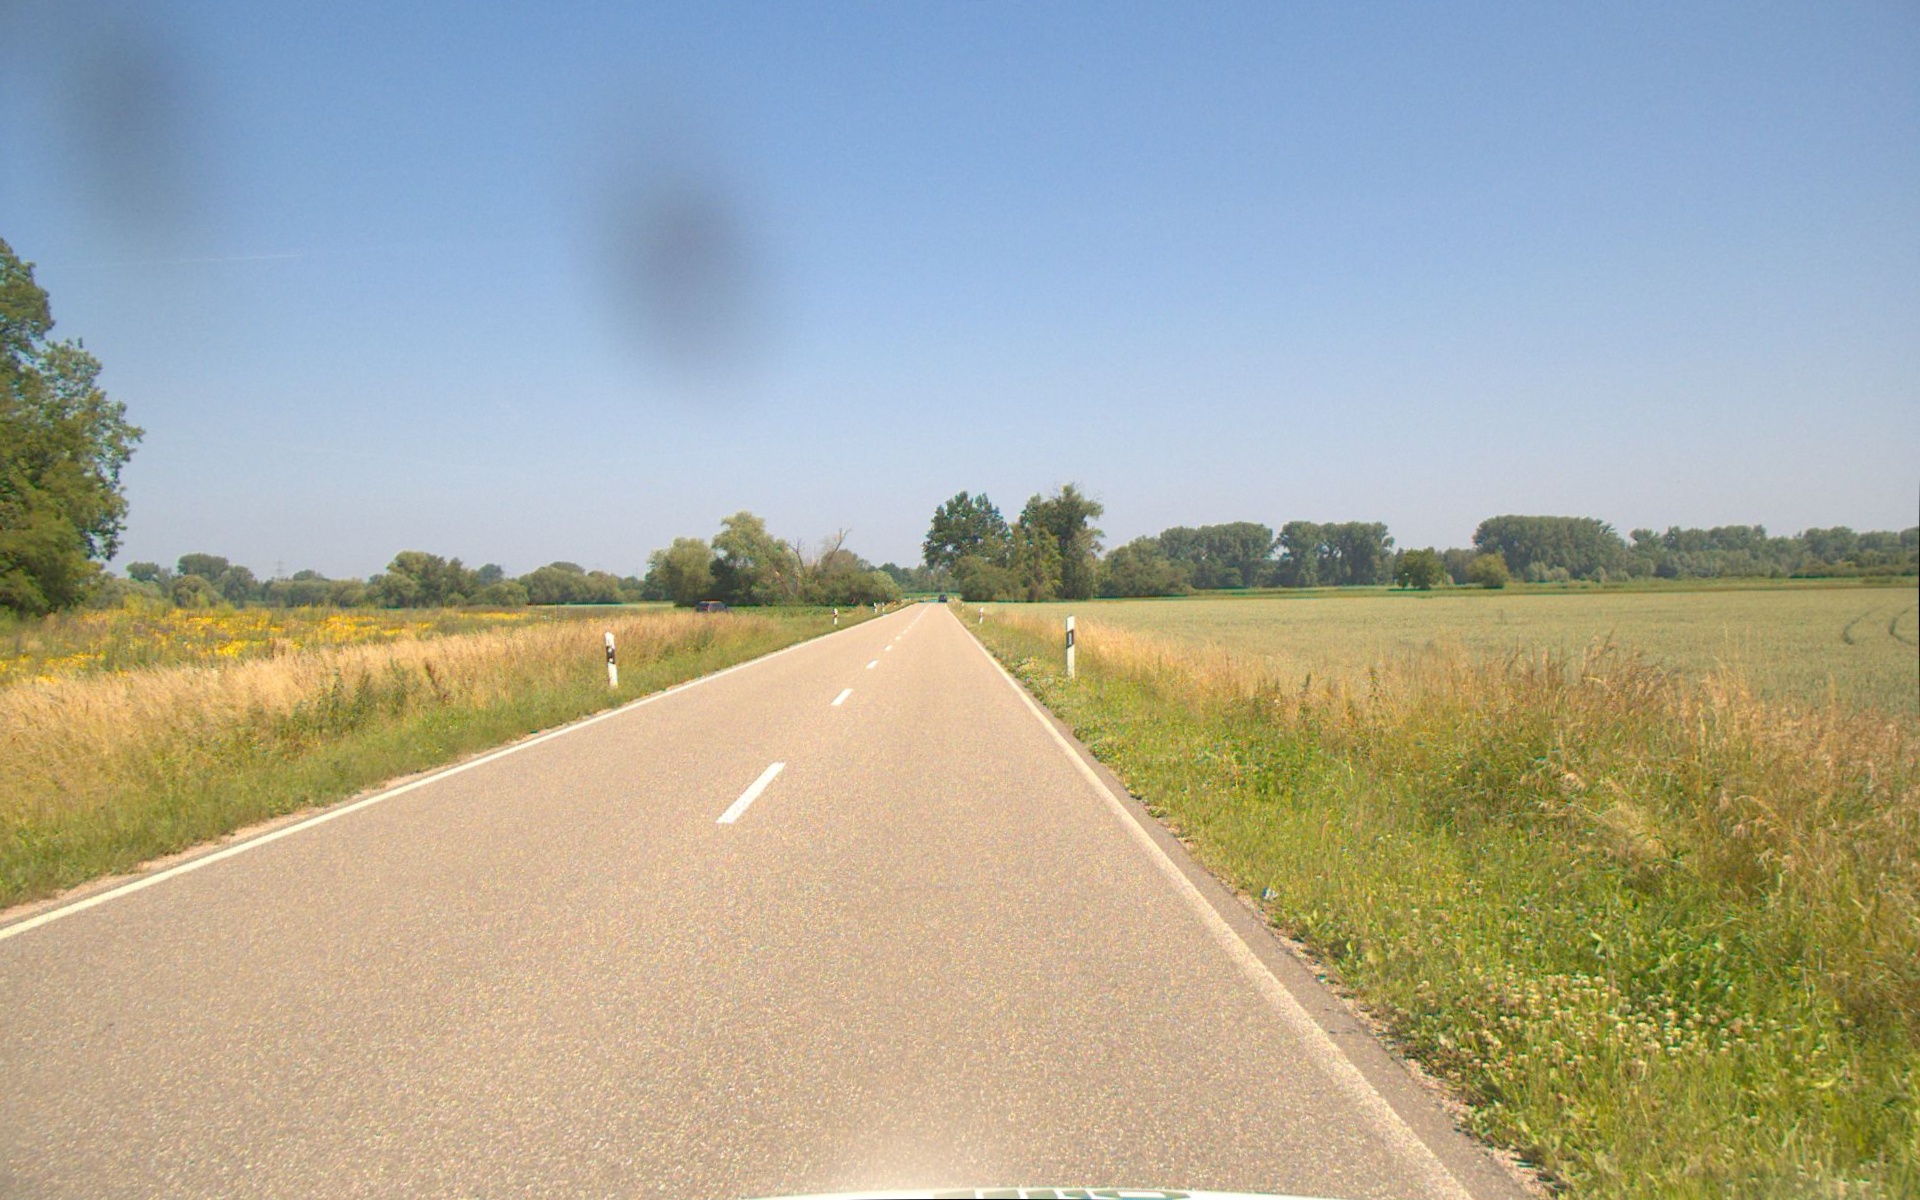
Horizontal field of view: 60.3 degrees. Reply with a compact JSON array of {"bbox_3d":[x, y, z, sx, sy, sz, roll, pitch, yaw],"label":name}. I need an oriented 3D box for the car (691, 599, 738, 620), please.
[{"bbox_3d":[-20.912,0.776,141.022,1.718,1.680,4.527,-1,0,24],"label":"car"}]
